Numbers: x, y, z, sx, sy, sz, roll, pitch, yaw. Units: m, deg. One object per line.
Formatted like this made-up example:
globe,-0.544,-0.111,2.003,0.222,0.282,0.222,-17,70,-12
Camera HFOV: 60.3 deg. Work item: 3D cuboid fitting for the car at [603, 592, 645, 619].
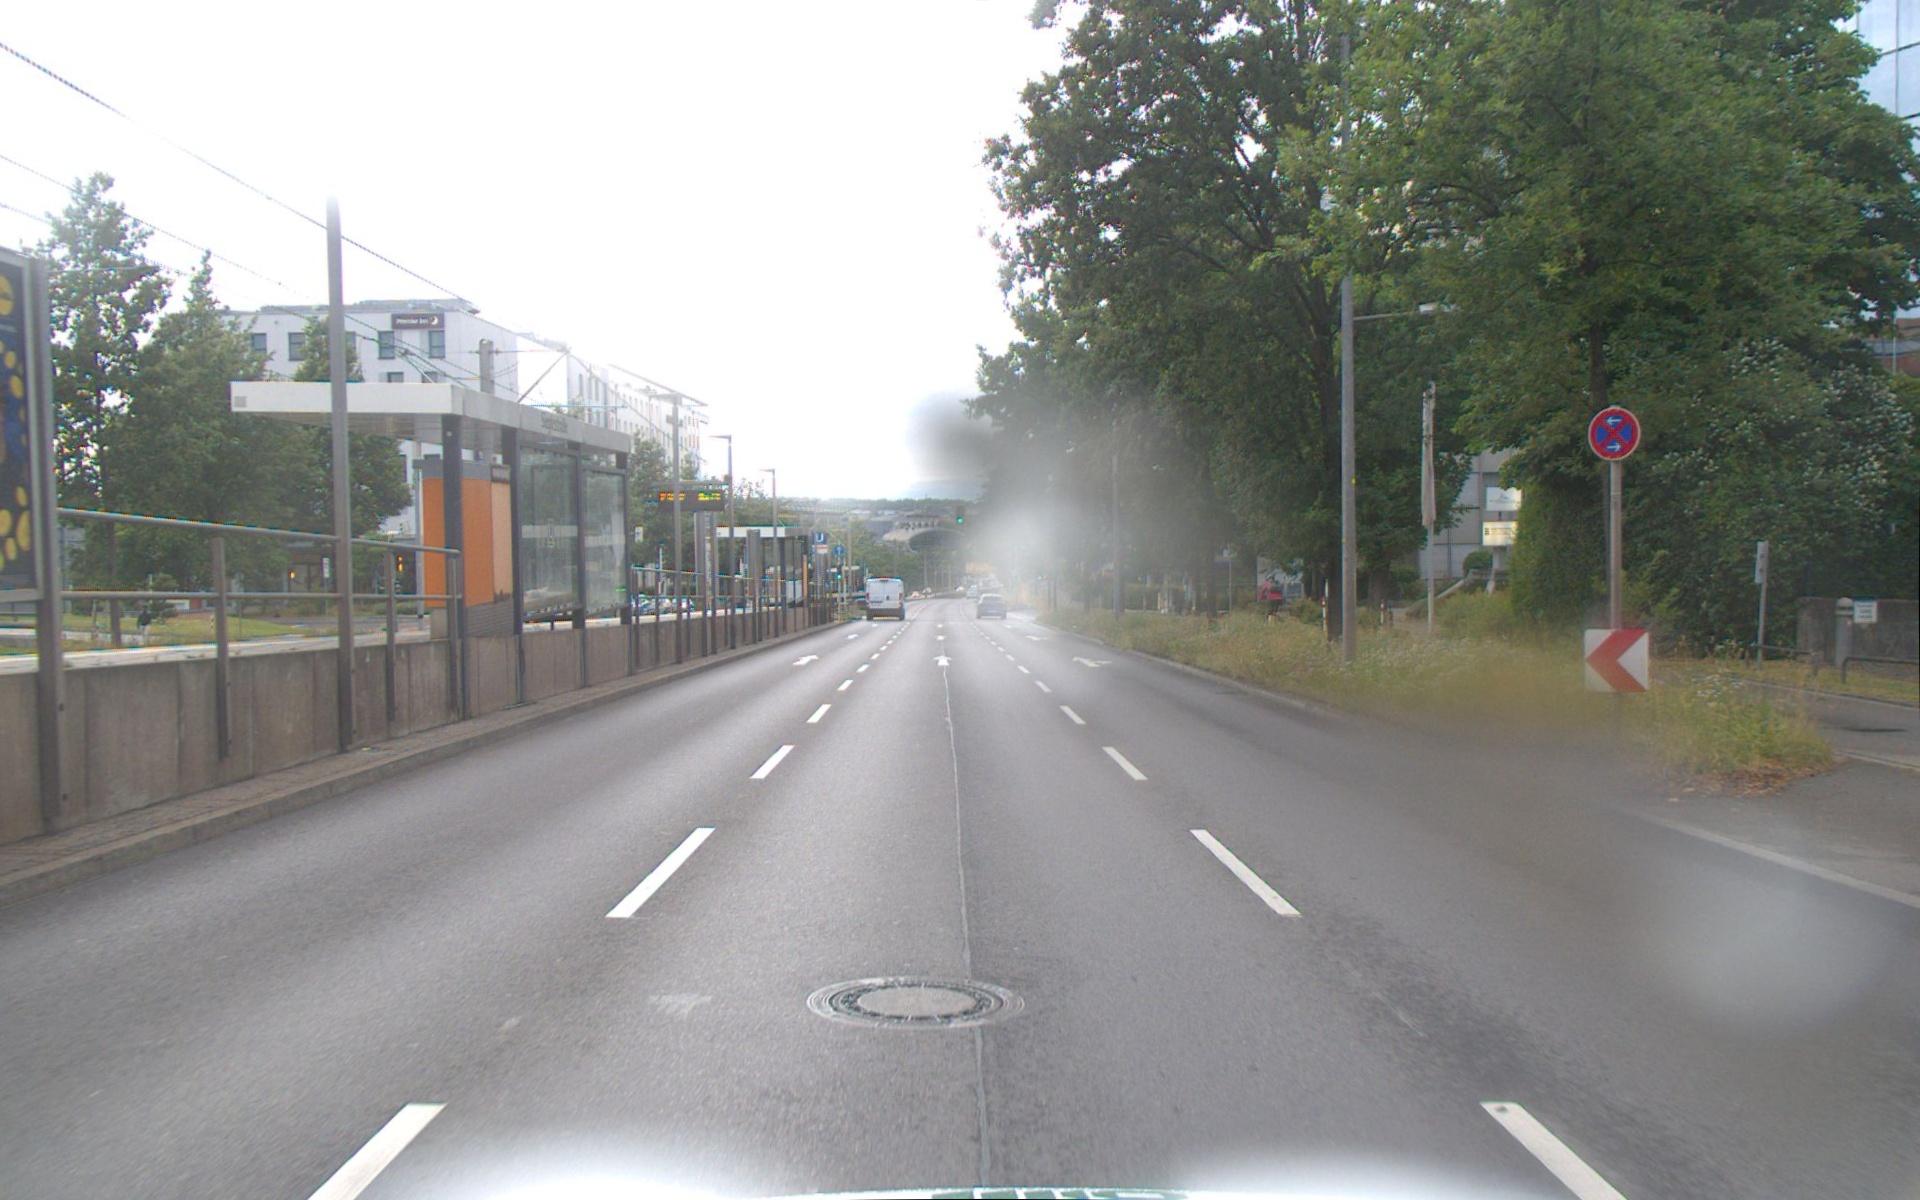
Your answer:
car,-22.783,0.359,112.363,1.953,1.805,4.388,-1,0,-1

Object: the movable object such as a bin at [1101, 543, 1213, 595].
movable object such as a bin,21.821,-3.436,183.952,11.892,5.353,3.789,-1,0,0

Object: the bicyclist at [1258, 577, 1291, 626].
bicyclist,8.609,0.031,45.311,0.642,1.310,1.219,1,0,-1

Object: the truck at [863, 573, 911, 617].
truck,-4.035,-0.264,92.119,2.311,2.301,5.306,1,0,1

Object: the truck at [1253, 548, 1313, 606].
truck,14.766,-1.027,75.732,1.712,2.562,3.997,1,0,-4

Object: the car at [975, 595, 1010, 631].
car,1.974,0.768,98.822,1.952,2.049,3.936,1,0,3
